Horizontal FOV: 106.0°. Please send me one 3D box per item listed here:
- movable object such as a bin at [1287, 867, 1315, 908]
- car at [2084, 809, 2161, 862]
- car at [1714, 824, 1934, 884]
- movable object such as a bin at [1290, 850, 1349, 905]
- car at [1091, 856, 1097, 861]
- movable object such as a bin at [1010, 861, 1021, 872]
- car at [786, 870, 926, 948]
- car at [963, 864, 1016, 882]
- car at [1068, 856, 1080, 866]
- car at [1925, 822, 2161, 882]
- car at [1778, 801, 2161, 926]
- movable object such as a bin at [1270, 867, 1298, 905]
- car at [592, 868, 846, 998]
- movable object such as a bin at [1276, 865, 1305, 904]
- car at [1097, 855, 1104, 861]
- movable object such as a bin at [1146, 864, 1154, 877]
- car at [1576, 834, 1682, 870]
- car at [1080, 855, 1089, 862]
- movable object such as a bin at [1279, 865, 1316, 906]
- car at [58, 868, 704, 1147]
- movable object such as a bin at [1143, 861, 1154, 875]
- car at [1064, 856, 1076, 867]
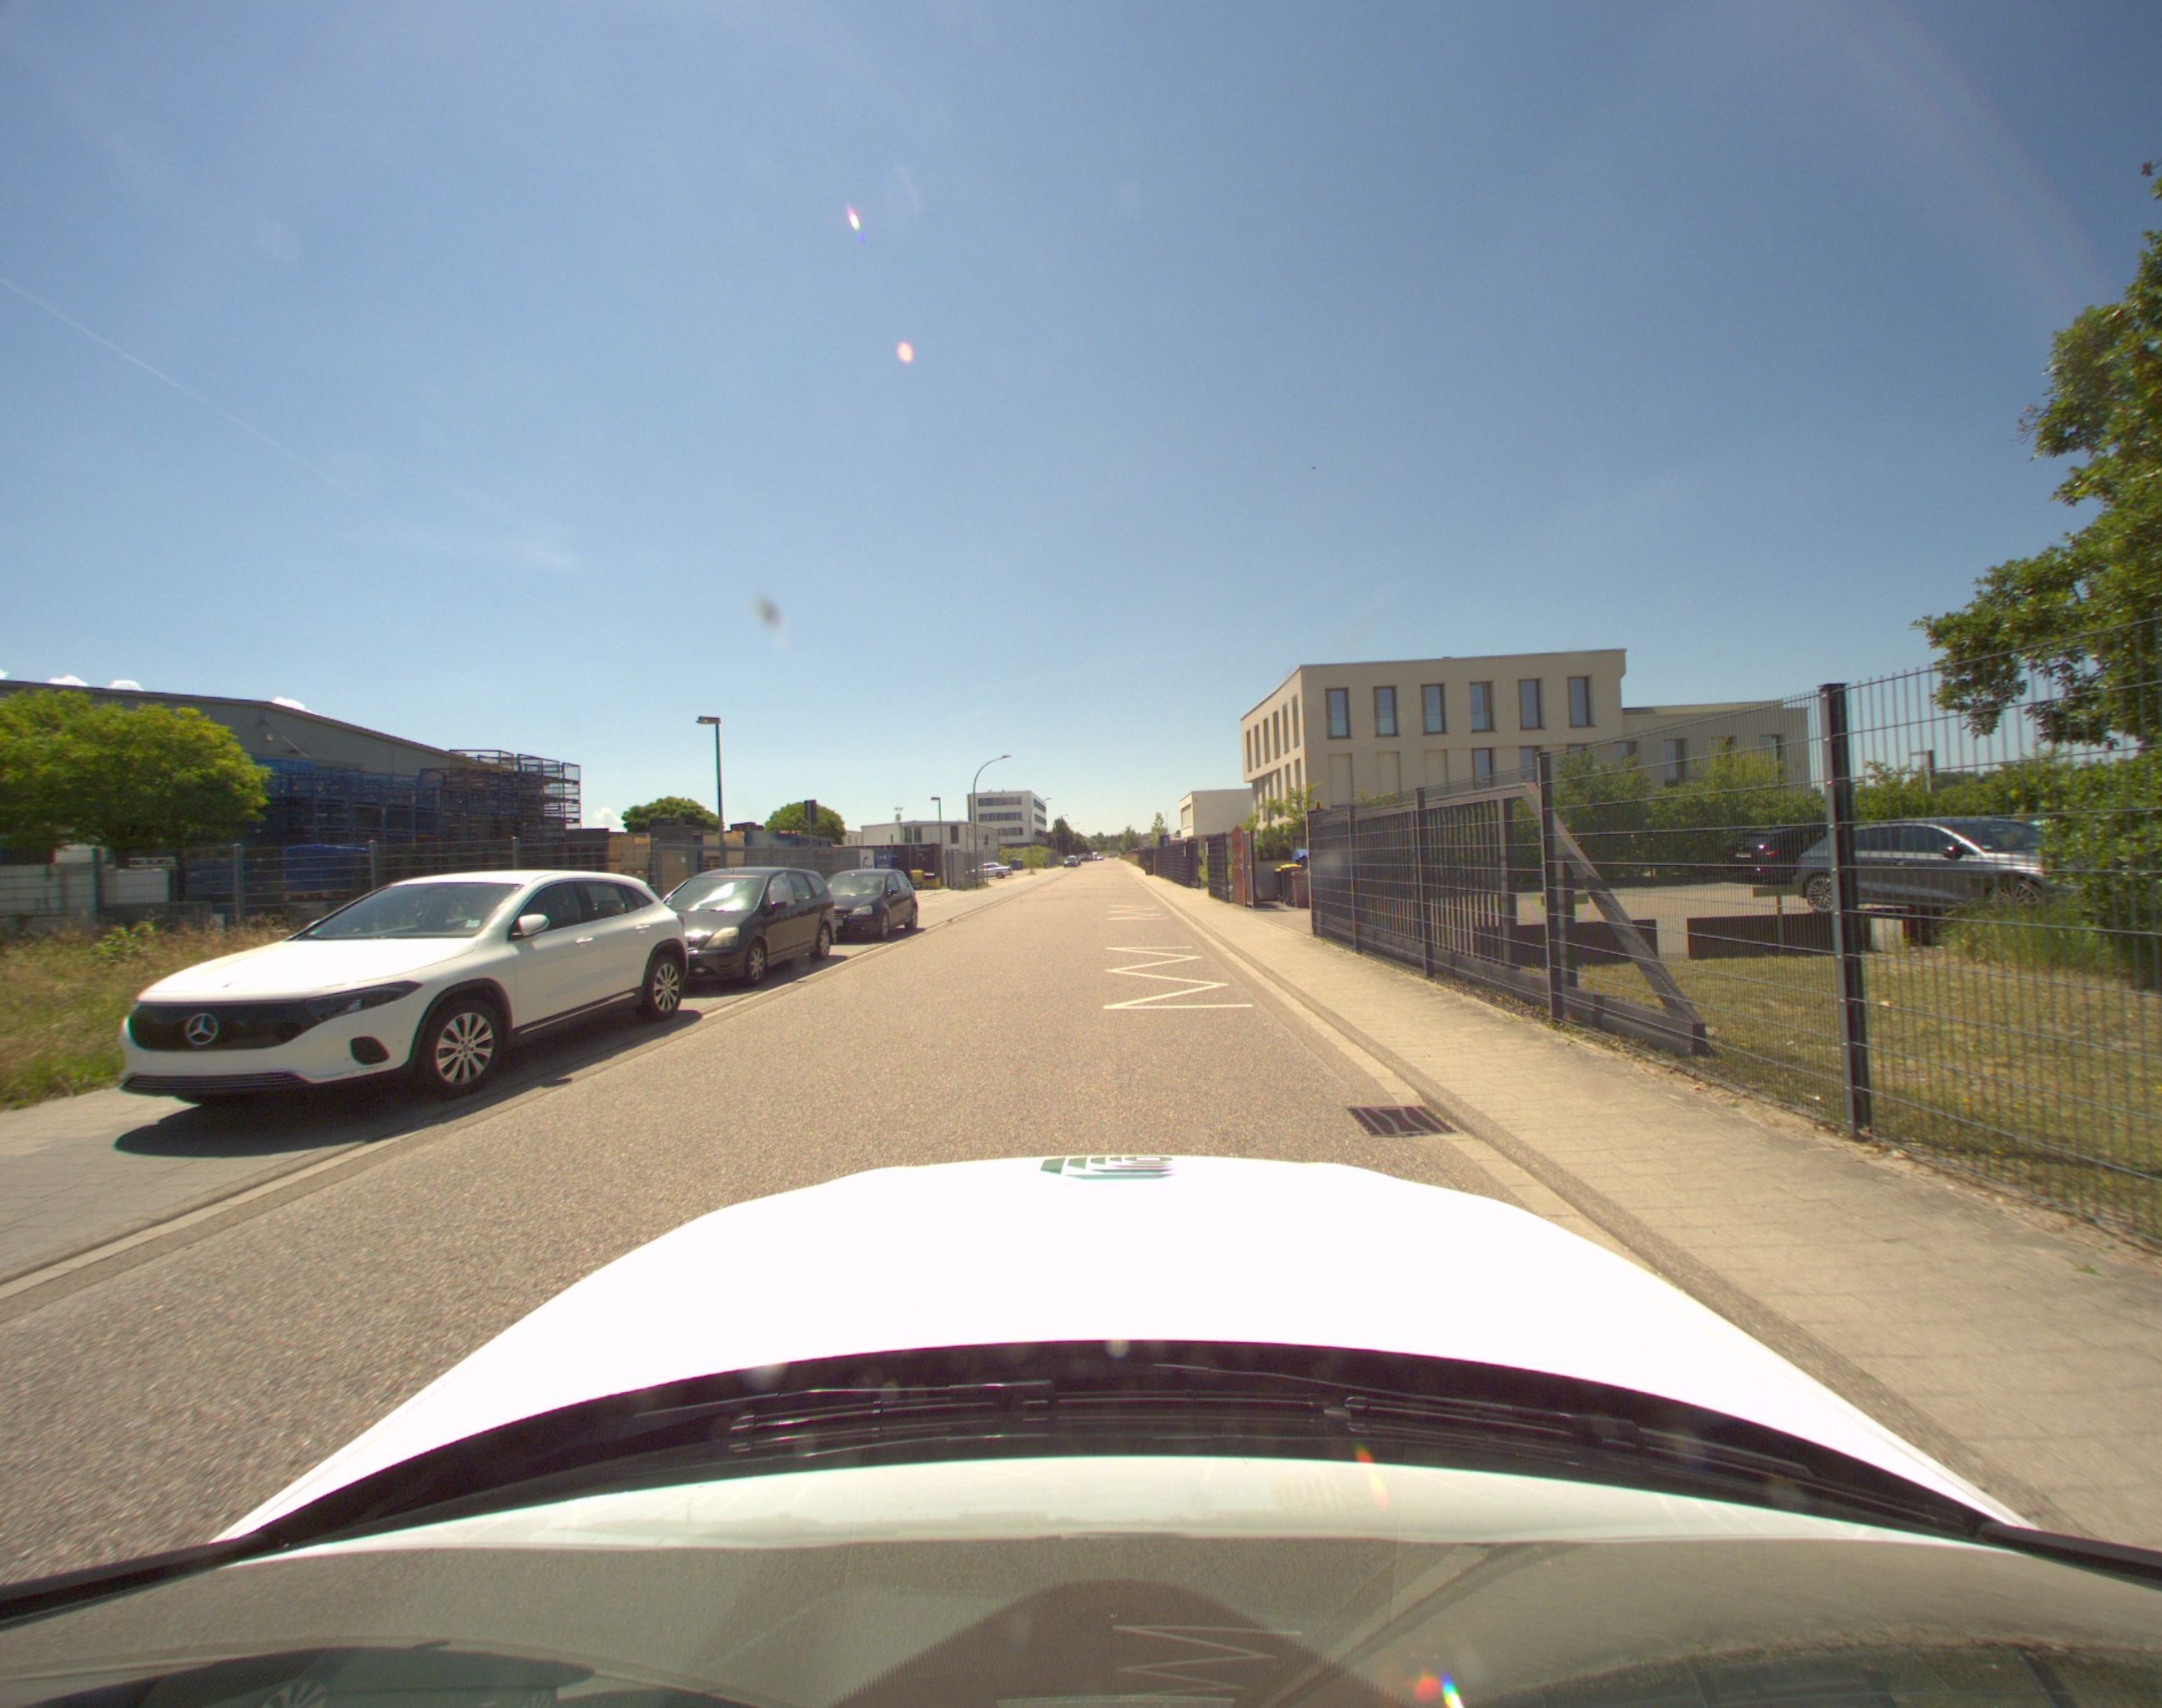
[{"bbox_3d":[5.689,0.860,21.079,0.541,0.994,0.581,-3,-1,1],"label":"movable object such as a bin"},{"bbox_3d":[29.323,-0.544,21.256,3.970,1.355,1.794,-2,0,3],"label":"car"},{"bbox_3d":[19.109,0.003,21.079,3.970,1.355,1.794,-2,0,3],"label":"car"},{"bbox_3d":[6.679,0.650,22.841,1.329,1.459,0.949,-3,-1,1],"label":"movable object such as a bin"},{"bbox_3d":[3.758,1.323,234.610,1.797,1.557,4.002,-3,0,2],"label":"car"},{"bbox_3d":[-8.546,1.681,106.839,1.282,1.412,1.805,-2,0,-2],"label":"movable object such as a bin"},{"bbox_3d":[-4.860,1.123,18.265,1.762,1.461,4.335,-1,-1,2],"label":"car"},{"bbox_3d":[-8.048,1.682,71.827,4.261,1.364,1.899,-3,0,2],"label":"car"},{"bbox_3d":[-1.003,0.995,120.017,1.461,1.490,3.209,-2,0,2],"label":"car"},{"bbox_3d":[24.757,-0.062,21.015,3.970,1.355,1.794,-2,0,3],"label":"car"},{"bbox_3d":[12.568,0.125,11.738,1.649,1.444,4.001,-3,-1,2],"label":"car"},{"bbox_3d":[5.752,0.893,23.111,0.541,1.036,0.914,-3,-1,2],"label":"movable object such as a bin"},{"bbox_3d":[-5.142,1.018,12.358,1.763,1.556,4.502,-1,-1,1],"label":"car"},{"bbox_3d":[5.724,0.833,22.304,0.602,1.036,0.651,-3,-1,2],"label":"movable object such as a bin"},{"bbox_3d":[5.222,1.183,218.318,1.797,1.557,4.002,-3,0,2],"label":"car"},{"bbox_3d":[5.482,1.324,64.888,0.549,0.928,0.523,-7,0,6],"label":"movable object such as a bin"},{"bbox_3d":[25.760,-0.125,38.495,1.986,1.486,4.521,-3,1,1],"label":"car"},{"bbox_3d":[0.663,0.934,167.924,1.638,1.490,3.209,-2,0,2],"label":"car"},{"bbox_3d":[5.744,0.840,21.667,0.790,1.036,0.581,-3,-1,1],"label":"movable object such as a bin"},{"bbox_3d":[-5.205,0.956,7.056,1.763,1.592,4.360,-1,-1,1],"label":"car"},{"bbox_3d":[5.475,1.113,65.871,0.775,1.019,0.666,-7,0,6],"label":"movable object such as a bin"},{"bbox_3d":[-1.556,1.040,112.936,1.461,1.490,3.209,-2,0,2],"label":"car"}]
